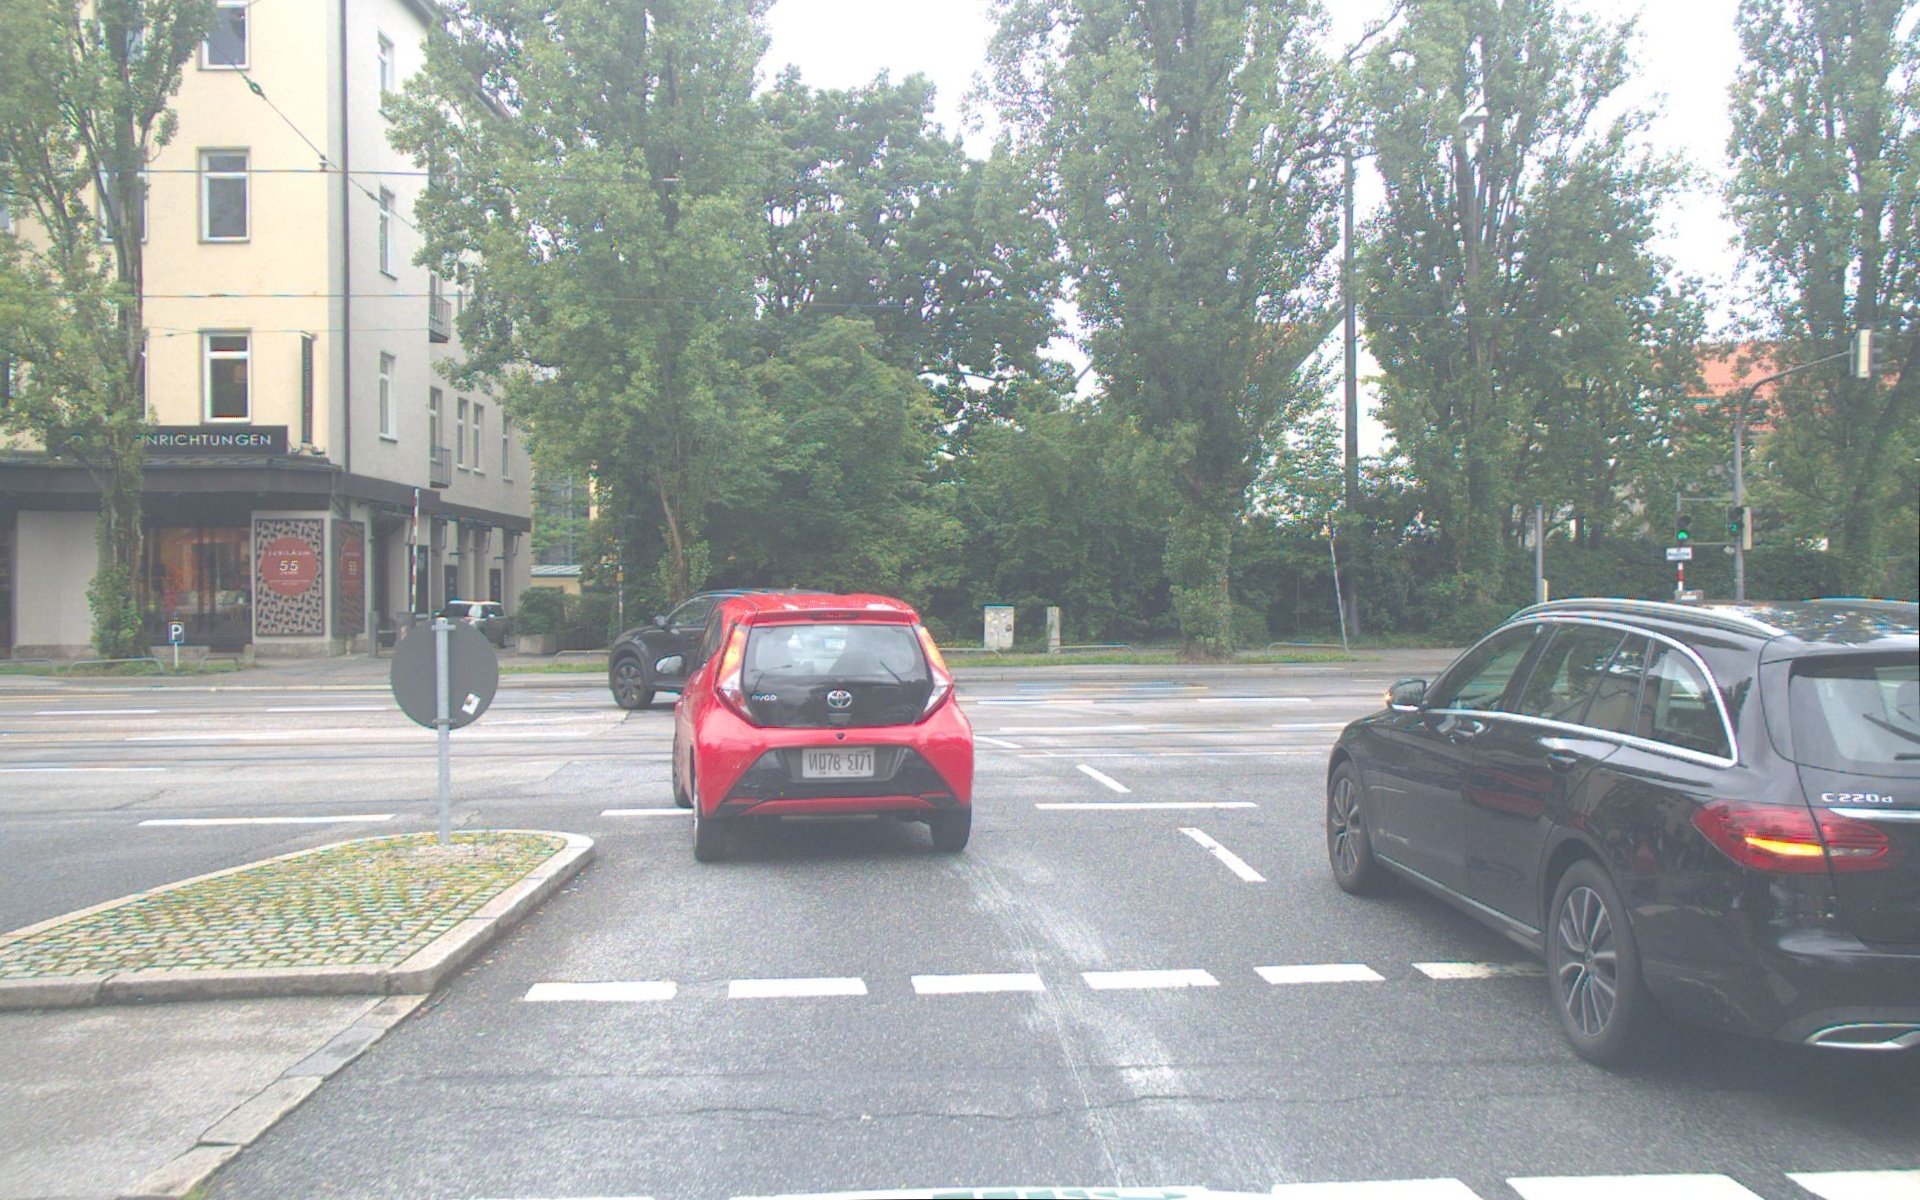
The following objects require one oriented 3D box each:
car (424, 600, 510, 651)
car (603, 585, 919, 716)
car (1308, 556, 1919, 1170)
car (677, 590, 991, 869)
[{"bbox_3d":[-14.969,0.749,50.447,1.691,1.467,3.996,-1,0,-5],"label":"car"},{"bbox_3d":[-2.571,0.603,20.946,3.925,1.512,1.777,-1,0,40],"label":"car"},{"bbox_3d":[2.882,0.659,6.642,1.826,1.576,4.701,0,0,-2],"label":"car"},{"bbox_3d":[-0.948,0.681,10.582,1.600,1.465,3.367,-1,0,-11],"label":"car"}]
